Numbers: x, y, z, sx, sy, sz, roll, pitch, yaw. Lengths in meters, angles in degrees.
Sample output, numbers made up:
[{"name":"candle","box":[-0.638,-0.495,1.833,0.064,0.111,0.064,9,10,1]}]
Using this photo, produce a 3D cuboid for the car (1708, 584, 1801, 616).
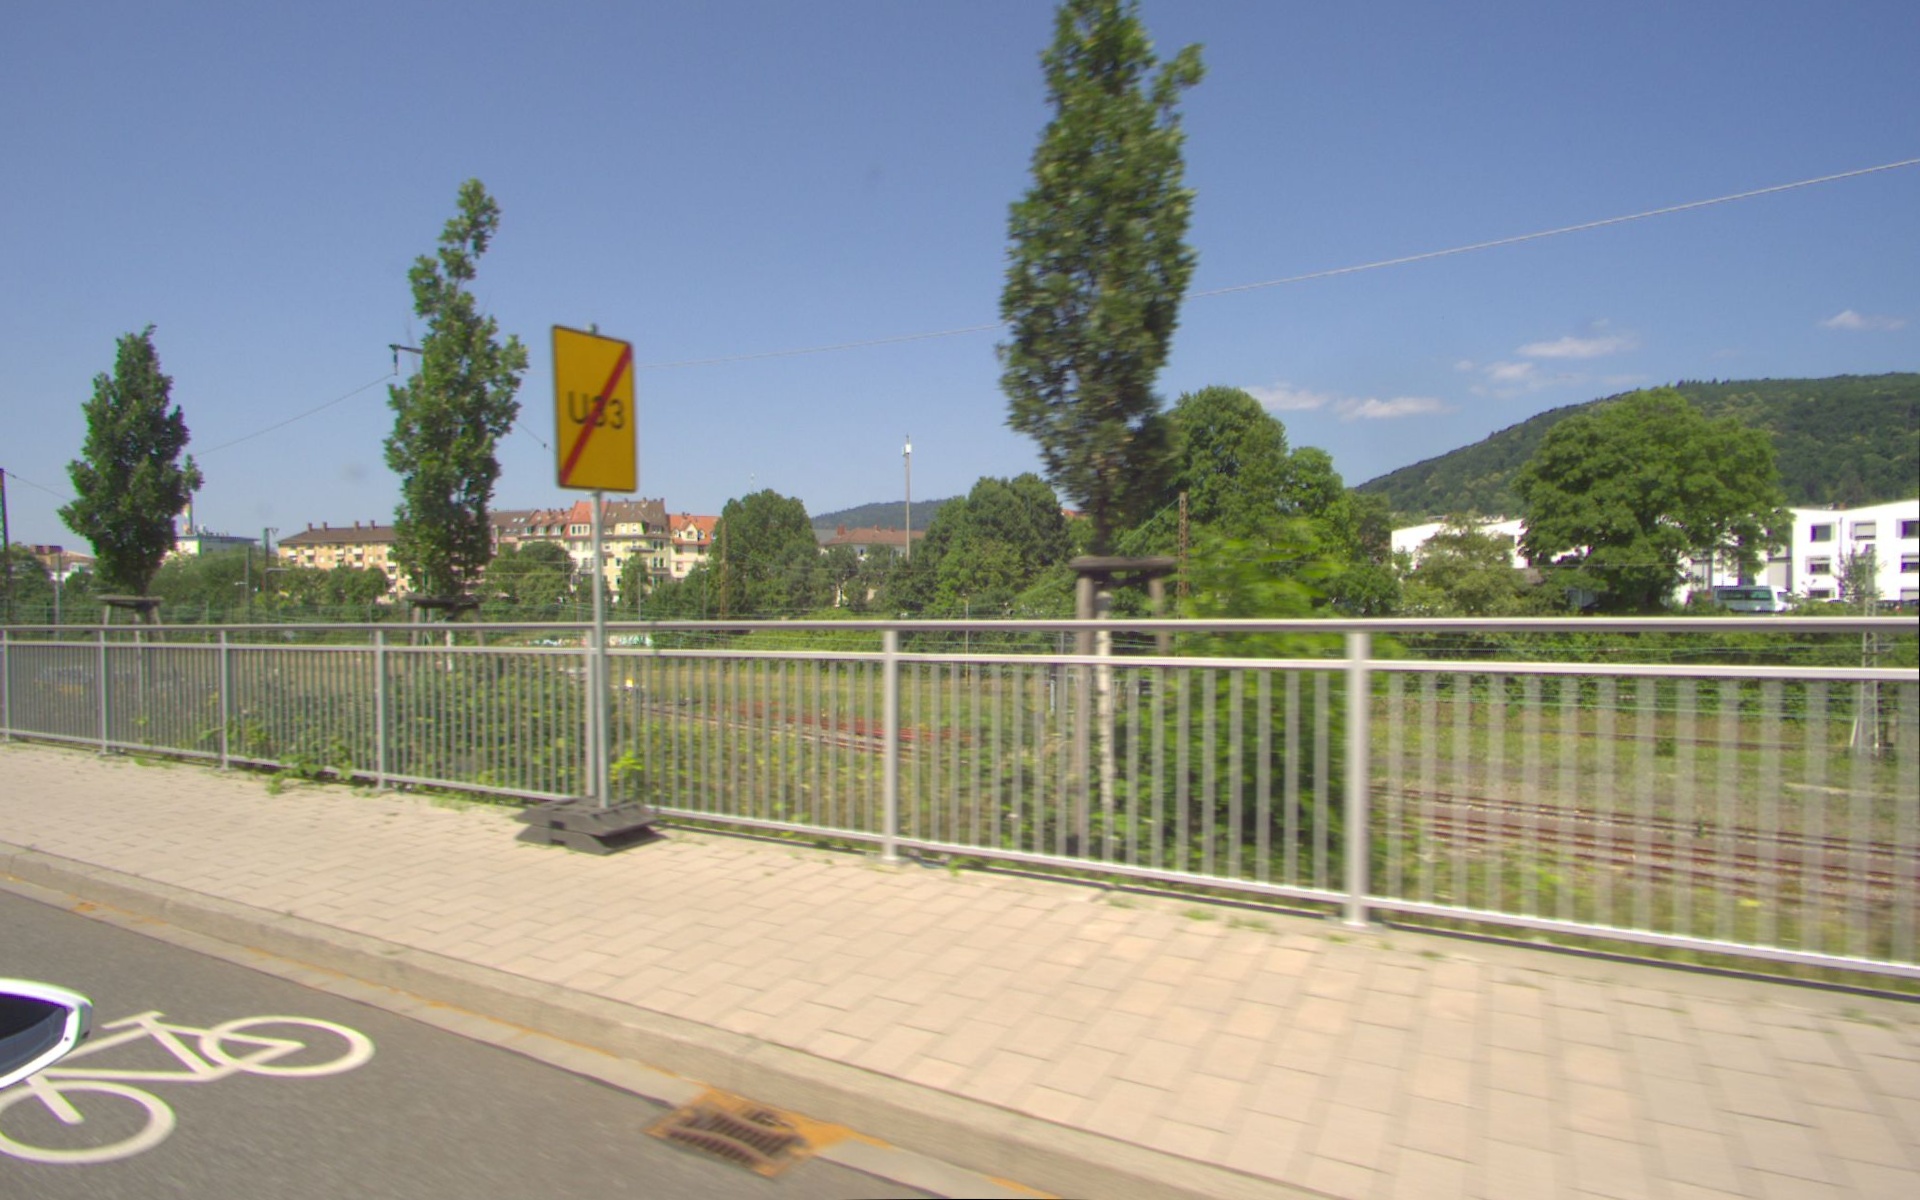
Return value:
[{"name":"car","box":[55.316,0.024,69.819,4.923,2.141,1.987,0,1,35]}]
